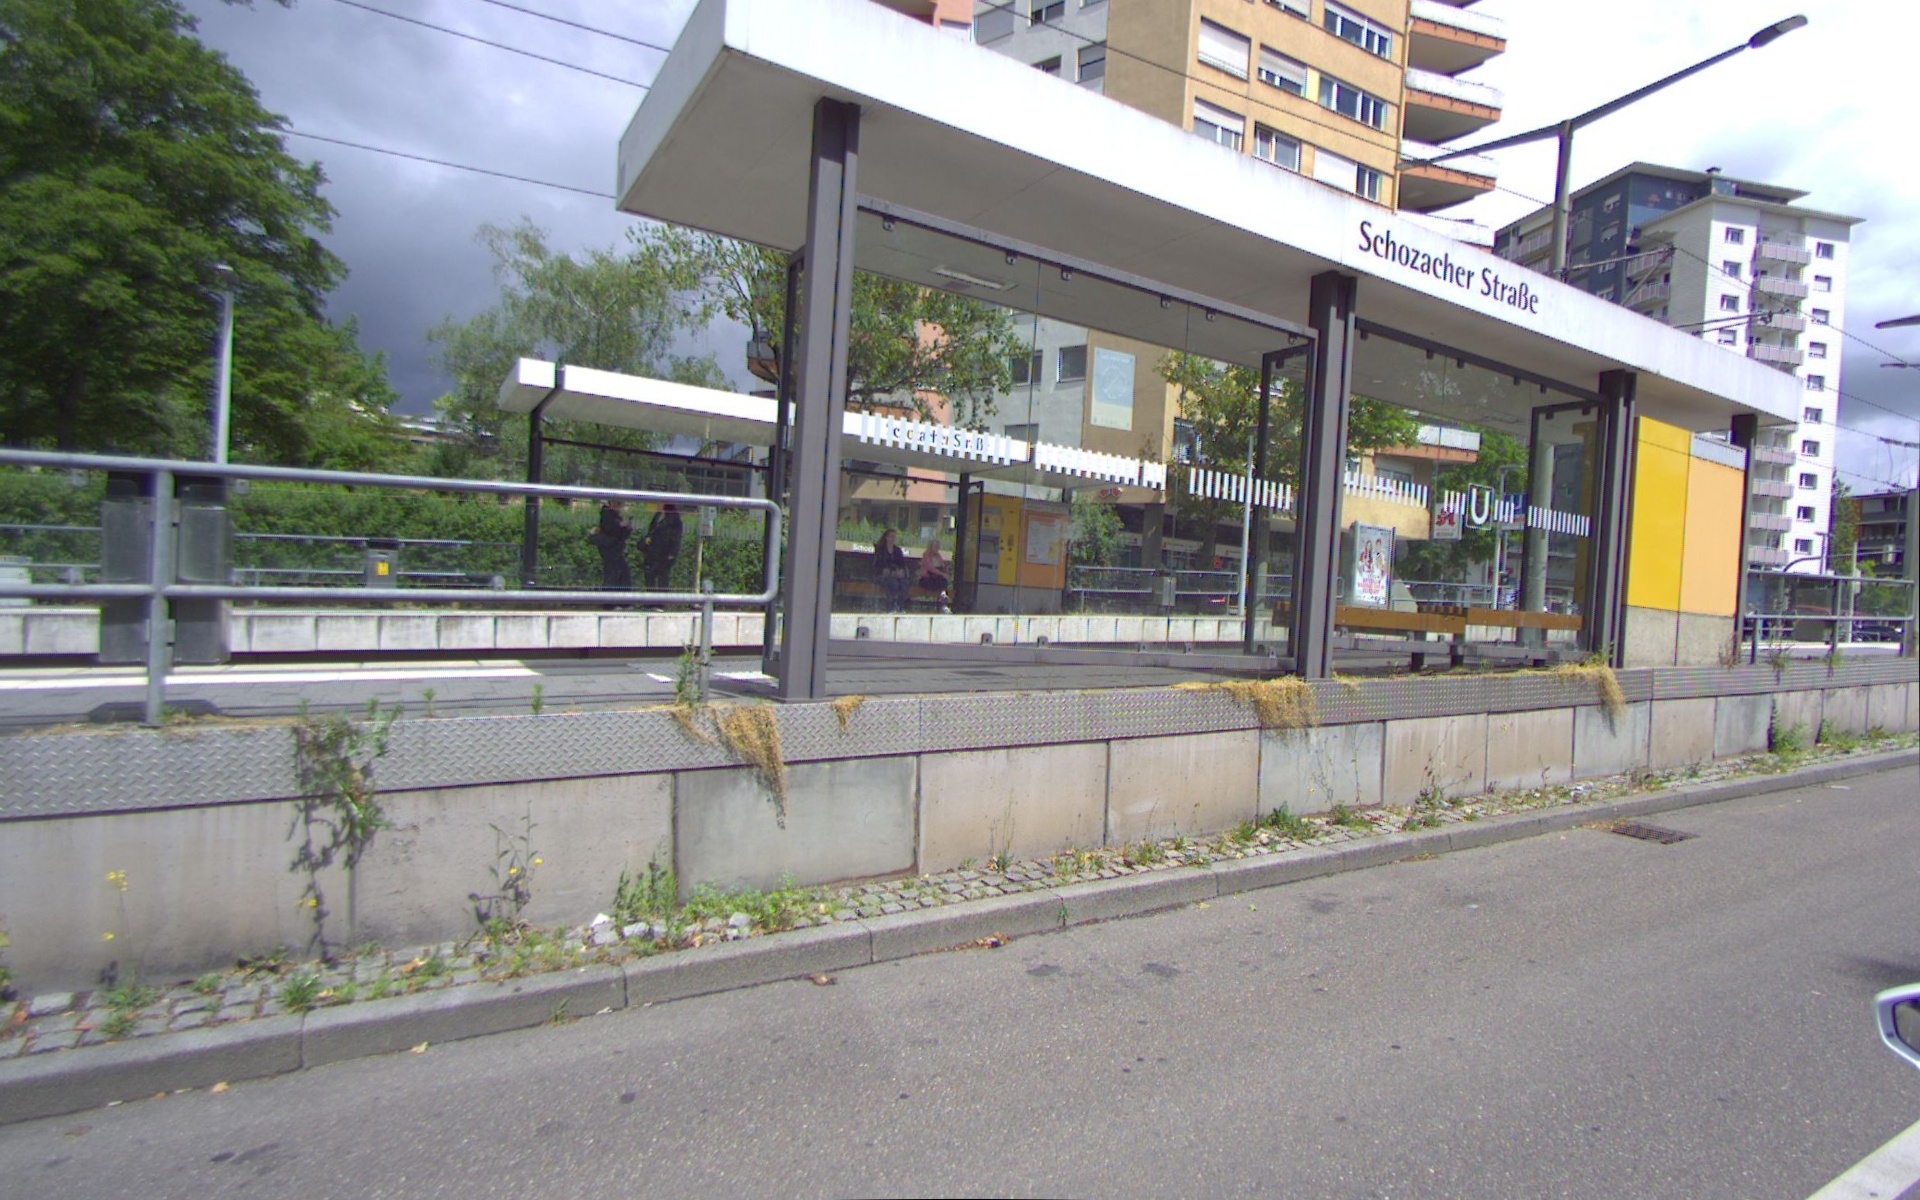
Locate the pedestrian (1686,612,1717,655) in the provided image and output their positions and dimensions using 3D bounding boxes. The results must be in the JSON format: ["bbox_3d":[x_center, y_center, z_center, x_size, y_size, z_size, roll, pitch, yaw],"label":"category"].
[{"bbox_3d":[24.225,1.088,32.819,0.543,1.360,0.669,1,0,12],"label":"pedestrian"}]

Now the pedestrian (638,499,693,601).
[{"bbox_3d":[-4.244,-0.702,14.467,0.517,1.397,0.537,4,-2,-39],"label":"pedestrian"}]

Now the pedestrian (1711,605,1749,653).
[{"bbox_3d":[26.123,0.982,34.081,0.618,1.599,0.851,1,1,-38],"label":"pedestrian"}]

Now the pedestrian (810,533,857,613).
[{"bbox_3d":[-2.031,-0.420,16.139,0.539,1.253,0.515,1,0,-42],"label":"pedestrian"}]

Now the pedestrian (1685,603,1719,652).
[{"bbox_3d":[24.789,0.914,33.558,0.765,1.604,0.605,1,1,-27],"label":"pedestrian"}]

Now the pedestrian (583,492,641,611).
[{"bbox_3d":[-5.016,-0.684,14.480,0.512,1.666,0.564,1,0,27],"label":"pedestrian"}]

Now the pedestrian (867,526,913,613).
[{"bbox_3d":[-1.158,-0.488,16.592,0.501,1.387,0.640,1,0,-30],"label":"pedestrian"}]

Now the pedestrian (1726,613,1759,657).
[{"bbox_3d":[25.006,1.108,32.124,0.677,1.361,0.859,1,1,29],"label":"pedestrian"}]

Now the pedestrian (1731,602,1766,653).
[{"bbox_3d":[27.125,0.939,34.547,0.818,1.729,0.676,1,1,-32],"label":"pedestrian"}]

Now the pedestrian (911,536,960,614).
[{"bbox_3d":[-0.416,-0.407,16.814,0.511,1.253,0.739,1,0,-30],"label":"pedestrian"}]
